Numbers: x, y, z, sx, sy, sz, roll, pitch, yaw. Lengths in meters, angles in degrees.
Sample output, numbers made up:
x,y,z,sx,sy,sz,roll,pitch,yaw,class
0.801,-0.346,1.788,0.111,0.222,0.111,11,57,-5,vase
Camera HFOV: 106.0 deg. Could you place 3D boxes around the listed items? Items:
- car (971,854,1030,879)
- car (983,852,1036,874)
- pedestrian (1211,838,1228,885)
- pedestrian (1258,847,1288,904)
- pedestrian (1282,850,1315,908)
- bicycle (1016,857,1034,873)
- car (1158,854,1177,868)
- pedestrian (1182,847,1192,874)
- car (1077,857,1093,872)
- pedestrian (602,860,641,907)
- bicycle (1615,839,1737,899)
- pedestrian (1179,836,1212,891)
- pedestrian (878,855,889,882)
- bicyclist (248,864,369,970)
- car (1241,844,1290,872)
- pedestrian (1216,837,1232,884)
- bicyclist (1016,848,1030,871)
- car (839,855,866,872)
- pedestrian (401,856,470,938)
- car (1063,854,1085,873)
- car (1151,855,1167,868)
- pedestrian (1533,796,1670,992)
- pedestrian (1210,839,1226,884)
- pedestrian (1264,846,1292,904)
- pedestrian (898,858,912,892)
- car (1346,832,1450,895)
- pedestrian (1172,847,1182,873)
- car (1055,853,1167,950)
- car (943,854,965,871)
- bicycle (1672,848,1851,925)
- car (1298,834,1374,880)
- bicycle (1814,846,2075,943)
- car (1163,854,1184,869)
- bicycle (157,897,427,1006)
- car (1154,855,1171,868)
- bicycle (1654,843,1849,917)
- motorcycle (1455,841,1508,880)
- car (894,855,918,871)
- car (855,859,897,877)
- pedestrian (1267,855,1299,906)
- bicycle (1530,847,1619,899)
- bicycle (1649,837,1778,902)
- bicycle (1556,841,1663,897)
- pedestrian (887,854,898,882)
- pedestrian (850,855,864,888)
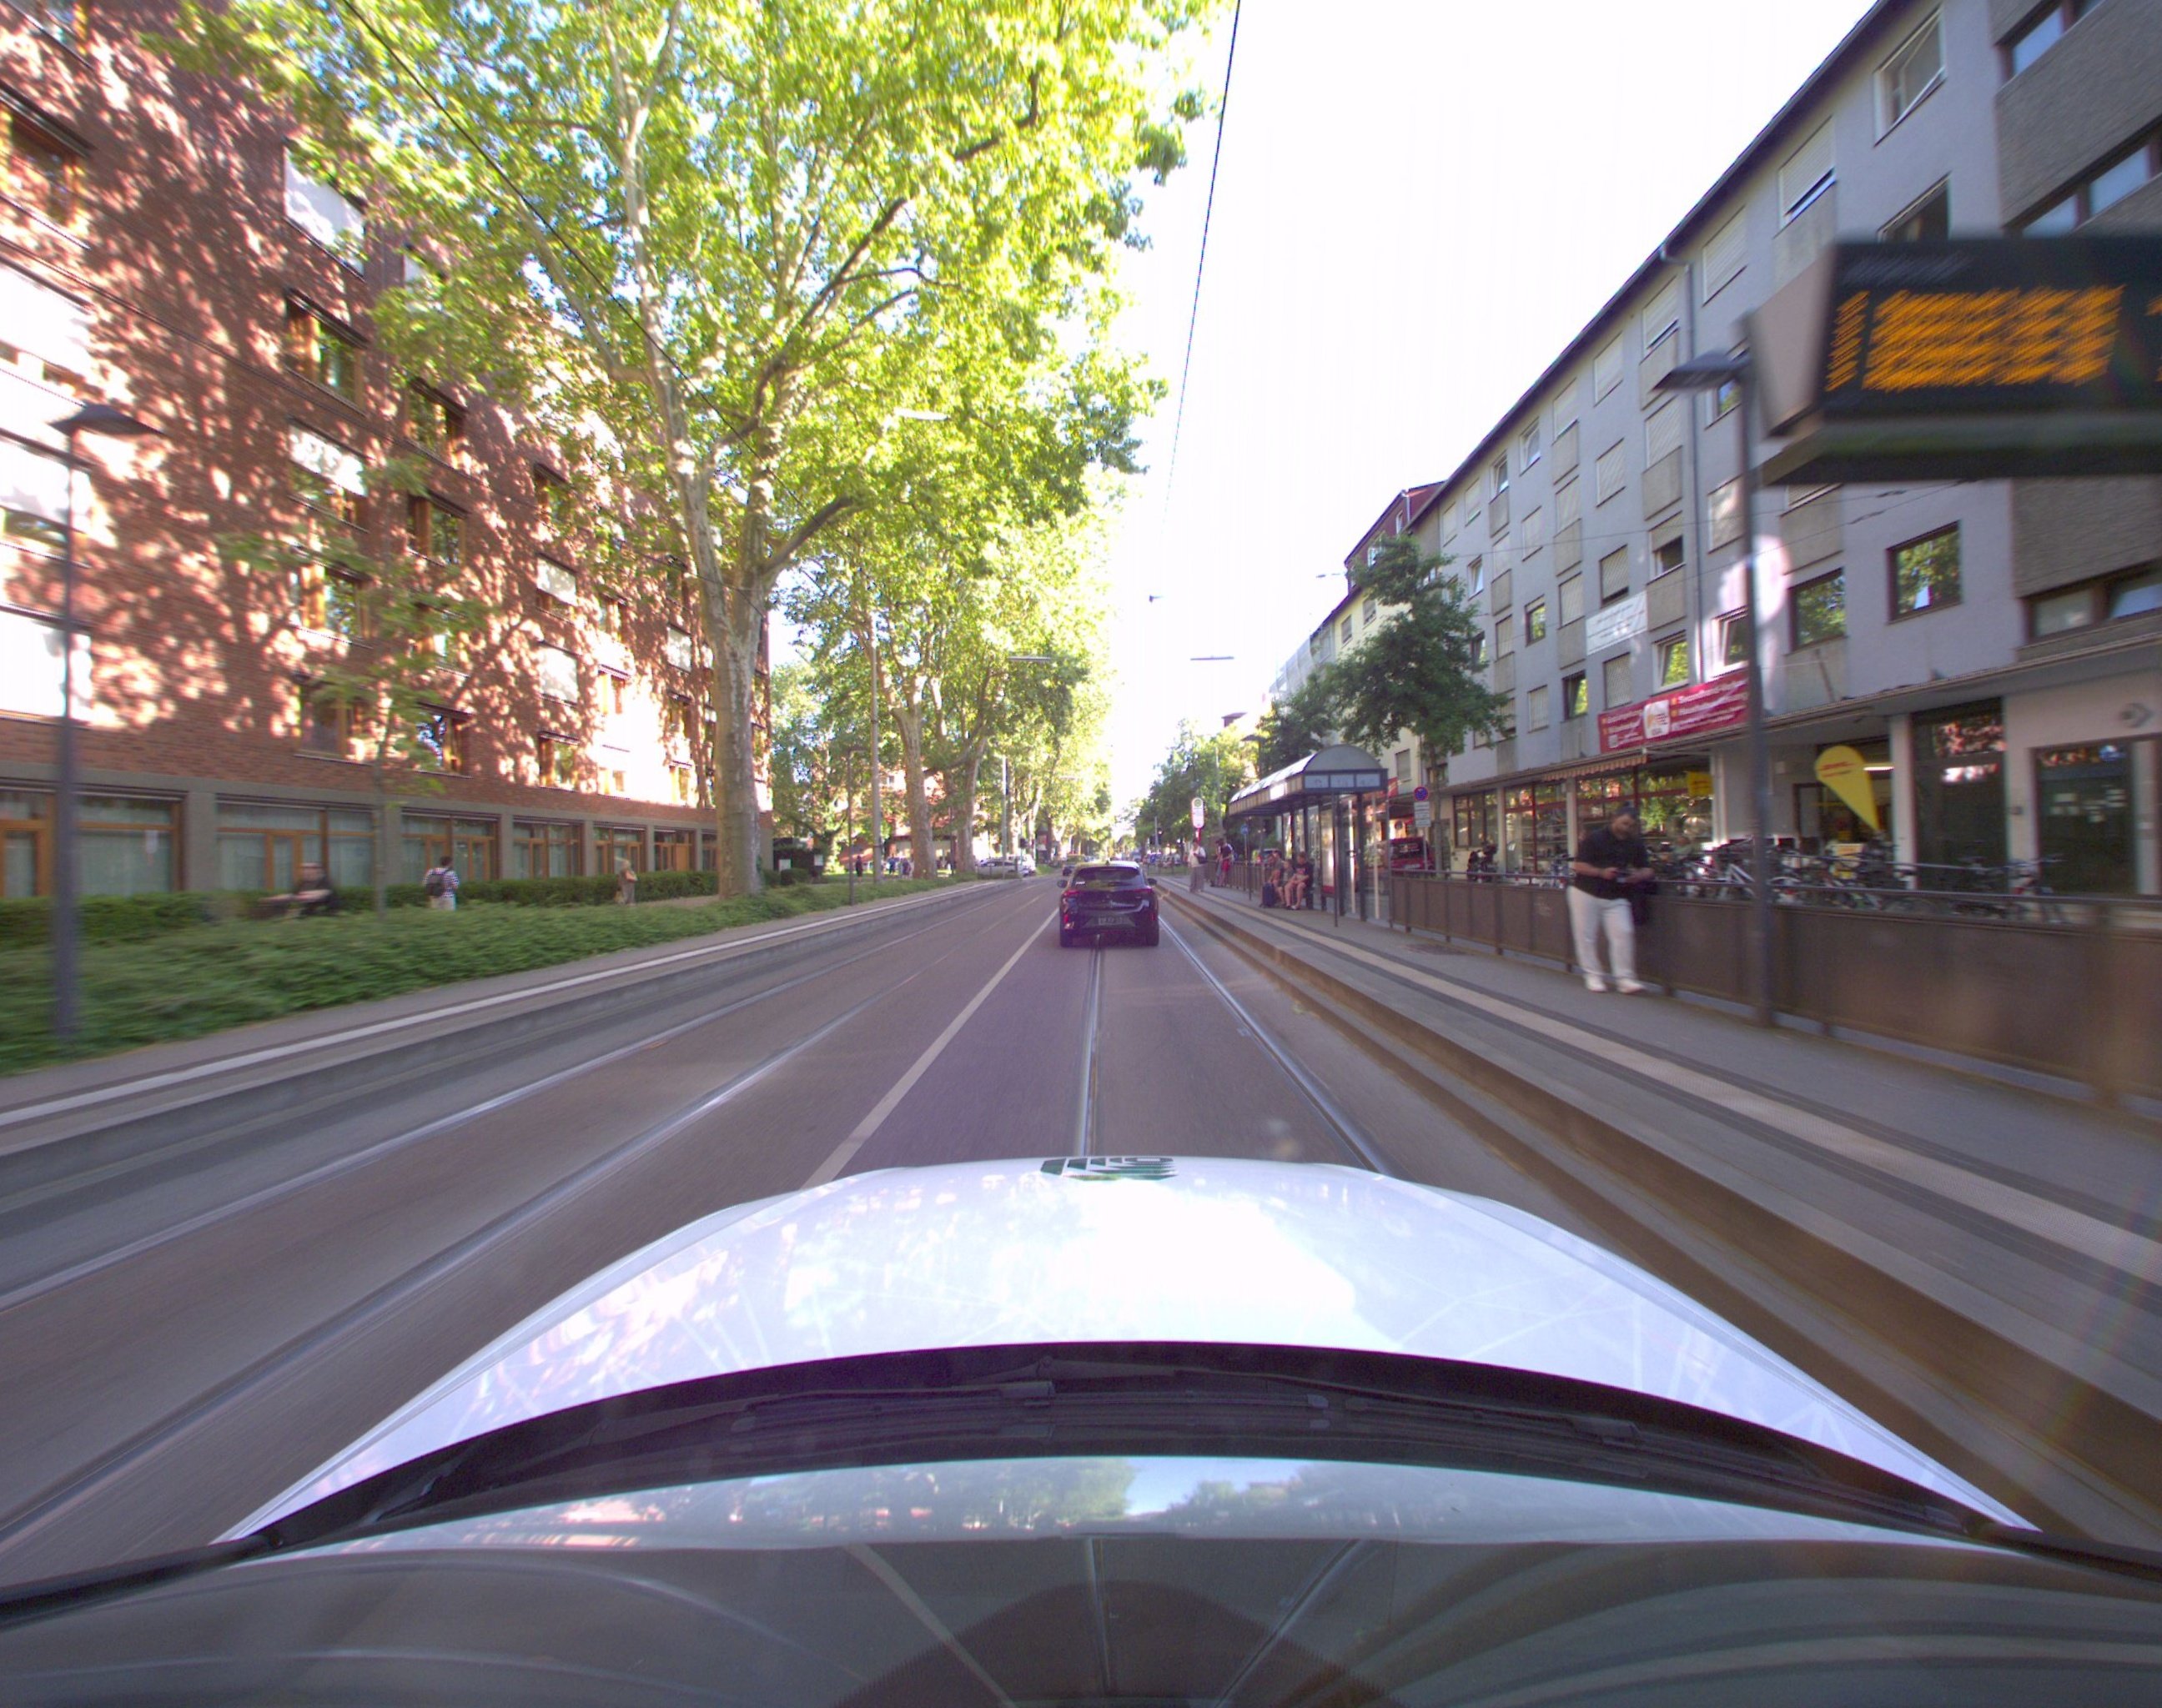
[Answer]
x,y,z,sx,sy,sz,roll,pitch,yaw,class
-5.740,0.854,58.138,4.108,1.701,1.880,-1,-1,-6,car
-6.028,0.756,68.877,4.379,1.851,1.996,-1,-1,-6,car
5.116,0.272,30.063,0.529,1.709,0.752,-1,-1,4,pedestrian
4.472,0.486,18.993,0.533,1.304,0.550,-1,-1,-3,pedestrian
4.660,0.529,17.448,0.533,1.230,0.510,-1,-1,-3,pedestrian
-4.374,0.853,63.393,0.950,1.240,2.981,-1,-1,5,bicycle
10.340,0.887,97.823,1.986,1.632,4.001,-1,-1,2,car
8.118,0.474,62.276,0.670,2.013,0.704,0,0,13,pedestrian
0.477,1.204,92.901,1.779,1.693,3.999,-1,-1,0,car
-15.719,0.997,27.902,0.772,1.605,0.946,-1,-1,1,pedestrian
12.046,0.293,16.591,0.597,1.136,2.197,-1,-1,-9,bicycle
3.665,0.296,25.990,0.742,1.709,0.768,-1,-1,36,pedestrian
-14.359,1.038,59.301,0.670,1.950,0.498,0,0,-2,pedestrian
-11.249,0.892,11.890,0.951,1.492,0.838,-1,-1,1,bicyclist
10.416,0.256,46.231,1.986,1.486,4.001,-1,-1,2,car
5.405,0.254,30.759,0.529,1.763,0.662,-1,-1,4,pedestrian
-4.452,0.404,62.499,0.936,1.703,1.154,-1,-1,4,bicyclist
-28.373,1.155,101.226,1.986,2.014,4.001,-1,-1,2,car
-13.514,0.886,17.076,0.732,1.672,0.861,-1,-1,1,pedestrian
-0.563,0.800,67.802,1.740,1.544,3.999,-1,-1,0,car
10.570,1.016,110.762,1.986,1.632,4.001,-1,-1,2,car
4.465,0.323,7.039,0.628,1.576,0.871,1,0,2,pedestrian
5.304,0.290,31.502,0.529,1.709,0.596,-1,-1,4,pedestrian
4.478,0.479,18.500,0.501,1.304,0.428,-1,-1,-3,pedestrian
-10.215,1.206,47.321,0.669,1.950,0.498,-1,-1,1,pedestrian
10.503,0.311,27.309,1.986,1.952,4.000,-1,-1,1,car
7.375,0.462,62.592,0.671,2.013,0.703,0,0,7,pedestrian
0.473,0.780,15.011,1.754,1.508,3.682,-2,-1,-1,car
-15.857,1.043,101.808,1.986,2.014,4.001,-1,-1,2,car
10.937,0.492,13.241,0.602,1.136,2.426,-1,-1,-9,bicycle
10.566,0.149,34.064,1.986,1.797,4.000,-1,-1,1,car
11.226,0.486,10.762,0.621,1.136,2.431,-1,-1,-9,bicycle
10.313,0.821,91.378,1.986,1.632,4.001,-1,-1,2,car
-11.231,1.321,11.845,0.951,1.240,2.979,-1,-1,2,bicycle
10.433,0.953,104.466,1.986,1.632,4.001,-1,-1,2,car
11.433,0.414,14.090,0.611,1.136,2.912,-1,-1,-9,bicycle
13.813,0.223,28.159,0.888,1.280,2.044,-1,-1,2,motorcycle
-21.840,1.125,101.640,1.986,2.014,4.001,-1,-1,2,car
-23.545,1.576,93.605,4.234,2.014,2.000,-1,-1,1,car
4.451,0.572,17.974,0.533,1.099,0.550,-1,-1,-3,pedestrian
11.509,0.439,19.091,0.596,1.136,2.200,-1,-1,-4,bicycle
11.778,0.283,15.275,0.410,1.136,2.197,0,-1,-9,bicycle
11.304,0.311,17.534,0.597,1.136,2.197,-1,-1,-9,bicycle
-13.572,1.007,58.540,0.670,1.950,0.498,0,0,-2,pedestrian
-13.145,1.012,47.859,0.493,1.950,0.677,-1,-1,14,pedestrian
